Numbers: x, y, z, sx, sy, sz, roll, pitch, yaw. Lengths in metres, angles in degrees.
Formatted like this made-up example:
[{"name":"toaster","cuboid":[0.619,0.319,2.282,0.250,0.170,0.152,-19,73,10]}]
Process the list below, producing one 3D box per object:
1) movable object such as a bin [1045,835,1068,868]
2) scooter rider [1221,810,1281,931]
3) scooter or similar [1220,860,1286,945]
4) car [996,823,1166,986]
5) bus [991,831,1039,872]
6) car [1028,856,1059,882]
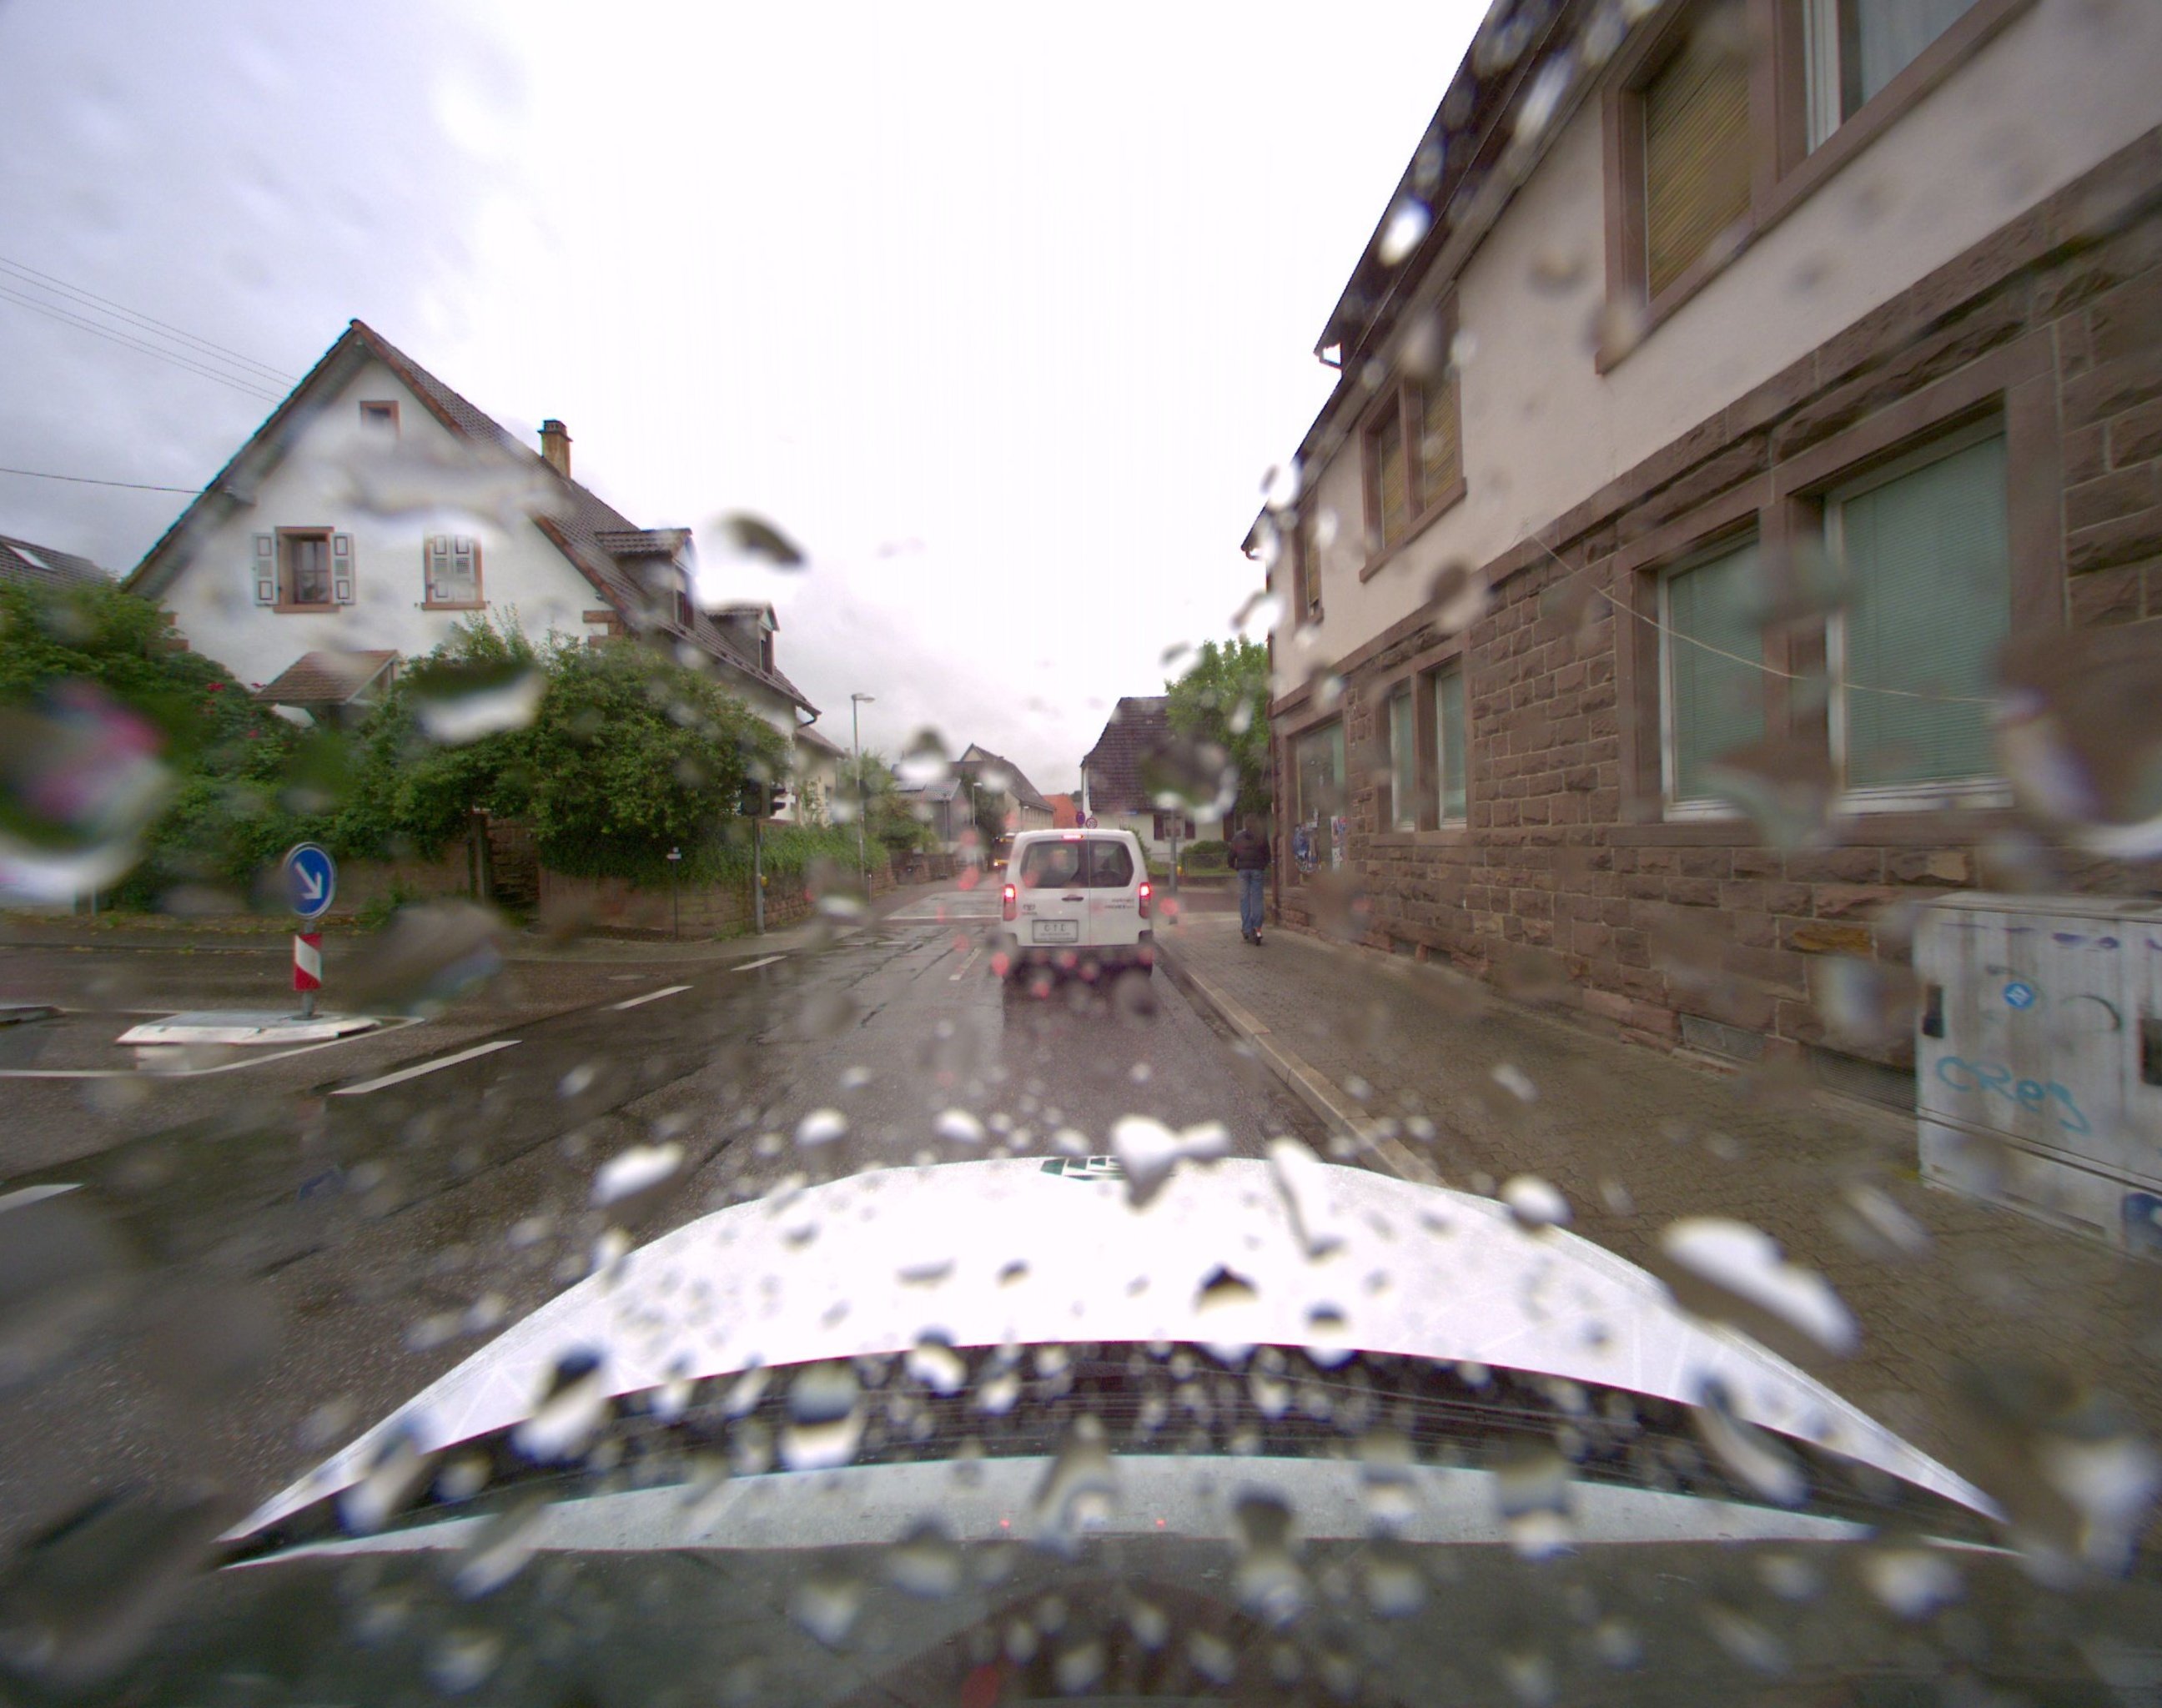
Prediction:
[{"name":"movable object such as a bin","cuboid":[-2.008,-0.215,68.642,1.720,2.653,3.975,0,0,1]},{"name":"scooter rider","cuboid":[2.489,0.240,11.997,0.729,1.733,0.517,-1,-1,-2]},{"name":"scooter or similar","cuboid":[2.494,0.674,11.954,0.619,1.127,1.401,-1,1,-2]},{"name":"car","cuboid":[-0.050,0.546,10.955,1.889,1.794,3.811,0,0,-2]},{"name":"bus","cuboid":[-5.154,-0.351,65.705,2.640,2.999,12.195,-1,2,1]},{"name":"car","cuboid":[-2.385,0.930,53.136,1.803,1.596,3.756,0,0,1]}]
